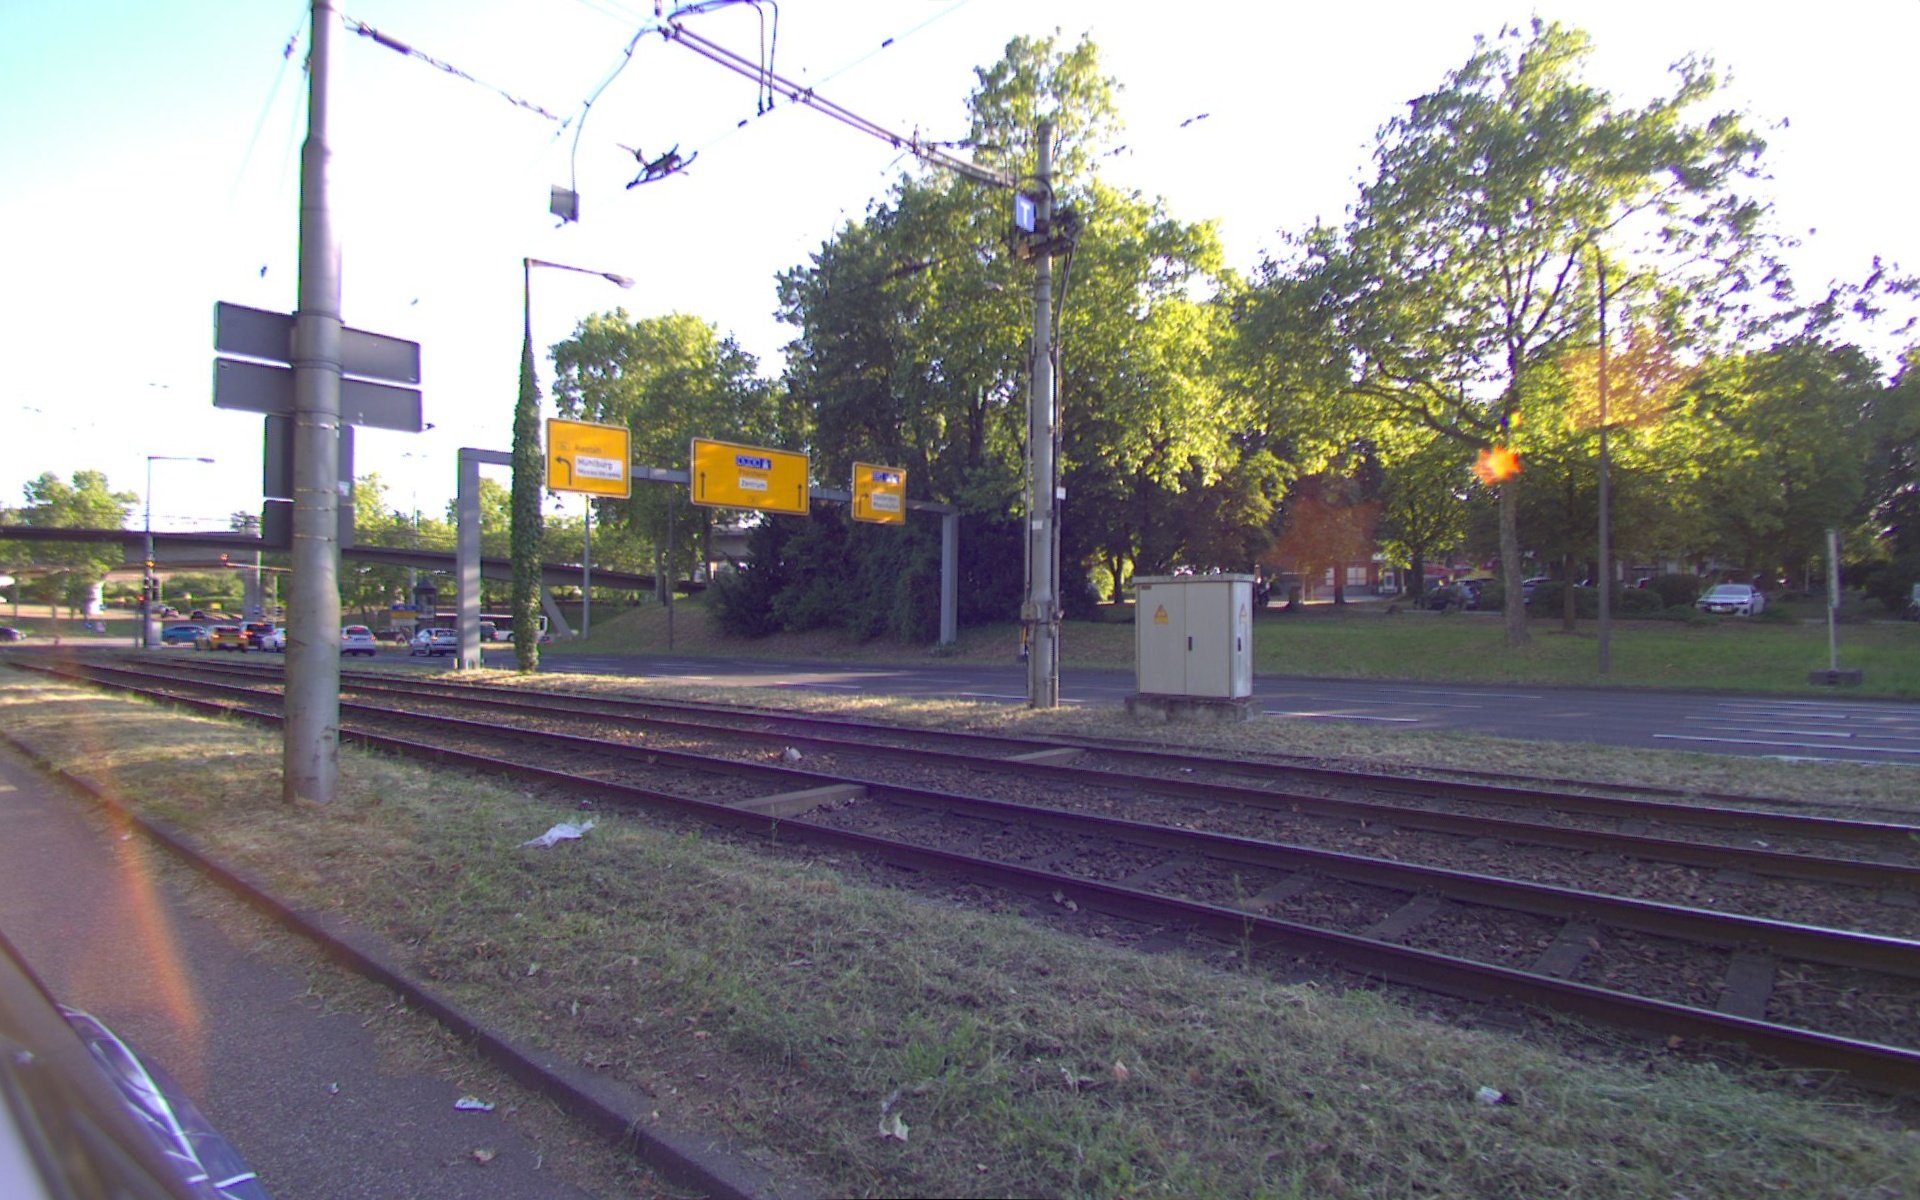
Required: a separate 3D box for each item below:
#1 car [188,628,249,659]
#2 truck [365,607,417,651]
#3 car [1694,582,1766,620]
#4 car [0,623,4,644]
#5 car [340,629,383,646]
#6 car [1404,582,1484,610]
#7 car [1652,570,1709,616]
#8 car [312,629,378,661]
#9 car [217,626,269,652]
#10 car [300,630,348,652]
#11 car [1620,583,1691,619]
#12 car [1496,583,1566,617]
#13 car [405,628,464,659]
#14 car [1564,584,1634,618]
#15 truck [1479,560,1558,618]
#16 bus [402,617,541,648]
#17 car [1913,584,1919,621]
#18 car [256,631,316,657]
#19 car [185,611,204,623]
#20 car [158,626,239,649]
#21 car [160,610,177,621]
[{"bbox_3d":[-39.725,2.312,54.190,3.997,1.556,1.744,-2,-1,40],"label":"car"},{"bbox_3d":[-39.245,1.967,69.704,2.248,2.901,6.895,0,-1,-37],"label":"truck"},{"bbox_3d":[32.650,0.013,42.882,1.942,1.521,4.039,-1,0,44],"label":"car"},{"bbox_3d":[-70.706,2.418,71.791,3.945,1.504,1.701,-1,0,-30],"label":"car"},{"bbox_3d":[-60.469,3.780,102.318,3.592,1.523,1.668,-1,0,-28],"label":"car"},{"bbox_3d":[26.878,-0.238,56.231,3.725,1.474,1.651,0,1,44],"label":"car"},{"bbox_3d":[37.960,-0.375,53.285,2.161,2.320,4.348,-1,0,39],"label":"car"},{"bbox_3d":[-31.668,2.291,52.094,3.997,1.556,1.744,-2,-1,40],"label":"car"},{"bbox_3d":[-44.697,2.384,63.049,4.228,1.561,1.892,-2,-2,44],"label":"car"},{"bbox_3d":[-42.953,2.730,68.338,1.891,1.435,4.229,0,-2,-45],"label":"car"},{"bbox_3d":[31.120,0.026,45.256,1.942,1.521,4.039,-1,0,44],"label":"car"},{"bbox_3d":[27.251,-0.010,48.216,1.942,1.521,4.039,-1,0,44],"label":"car"},{"bbox_3d":[-27.863,2.273,53.599,1.787,1.556,4.004,0,-2,-43],"label":"car"},{"bbox_3d":[29.509,0.041,46.691,1.942,1.521,4.039,-1,0,44],"label":"car"},{"bbox_3d":[32.808,-0.638,59.324,2.502,3.191,6.137,-1,0,44],"label":"truck"},{"bbox_3d":[-51.187,3.331,106.482,12.965,2.884,2.425,-1,-1,-25],"label":"bus"},{"bbox_3d":[45.053,0.087,46.280,3.998,1.628,1.864,-1,0,-43],"label":"car"},{"bbox_3d":[-38.930,2.519,58.443,4.225,1.435,1.893,-2,-2,42],"label":"car"},{"bbox_3d":[-111.111,2.486,146.802,1.806,1.630,3.986,-1,0,-43],"label":"car"},{"bbox_3d":[-57.302,2.779,76.236,4.727,1.584,1.944,-1,-1,-33],"label":"car"},{"bbox_3d":[-121.328,2.400,155.135,1.806,1.630,3.986,-1,0,-43],"label":"car"}]
